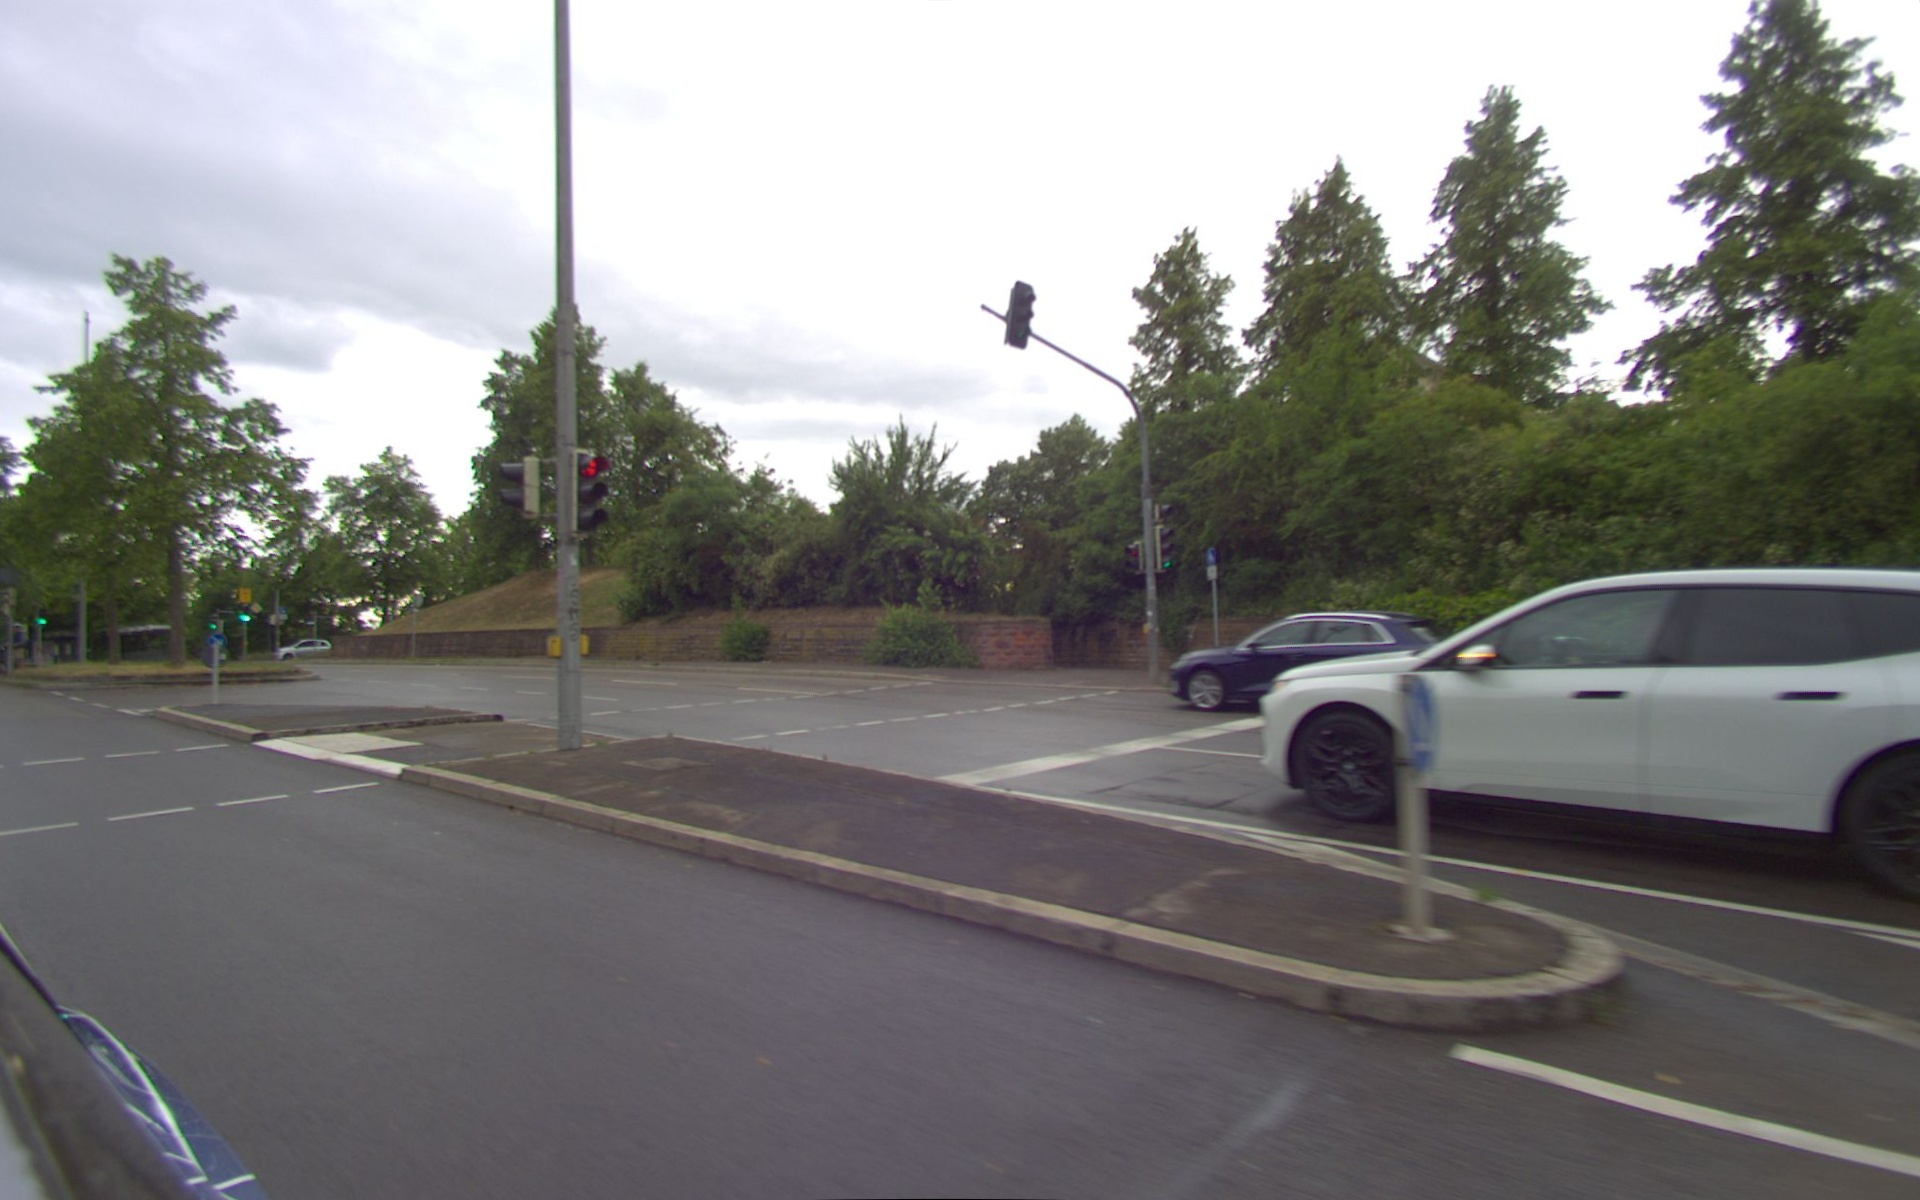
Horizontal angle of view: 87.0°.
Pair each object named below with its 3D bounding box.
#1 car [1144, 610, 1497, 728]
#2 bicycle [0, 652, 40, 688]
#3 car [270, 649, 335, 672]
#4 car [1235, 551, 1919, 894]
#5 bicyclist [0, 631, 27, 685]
[{"bbox_3d":[5.057,0.911,14.641,4.455,1.448,1.799,-2,-2,44],"label":"car"},{"bbox_3d":[-32.368,2.380,34.516,0.544,1.151,2.146,0,-2,-16],"label":"bicycle"},{"bbox_3d":[-45.699,4.175,70.366,3.639,1.490,1.764,1,-3,-40],"label":"car"},{"bbox_3d":[4.486,0.636,6.375,5.007,1.648,1.923,-2,-2,45],"label":"car"},{"bbox_3d":[-32.219,1.943,34.141,0.713,1.765,0.804,2,-3,-16],"label":"bicyclist"}]
